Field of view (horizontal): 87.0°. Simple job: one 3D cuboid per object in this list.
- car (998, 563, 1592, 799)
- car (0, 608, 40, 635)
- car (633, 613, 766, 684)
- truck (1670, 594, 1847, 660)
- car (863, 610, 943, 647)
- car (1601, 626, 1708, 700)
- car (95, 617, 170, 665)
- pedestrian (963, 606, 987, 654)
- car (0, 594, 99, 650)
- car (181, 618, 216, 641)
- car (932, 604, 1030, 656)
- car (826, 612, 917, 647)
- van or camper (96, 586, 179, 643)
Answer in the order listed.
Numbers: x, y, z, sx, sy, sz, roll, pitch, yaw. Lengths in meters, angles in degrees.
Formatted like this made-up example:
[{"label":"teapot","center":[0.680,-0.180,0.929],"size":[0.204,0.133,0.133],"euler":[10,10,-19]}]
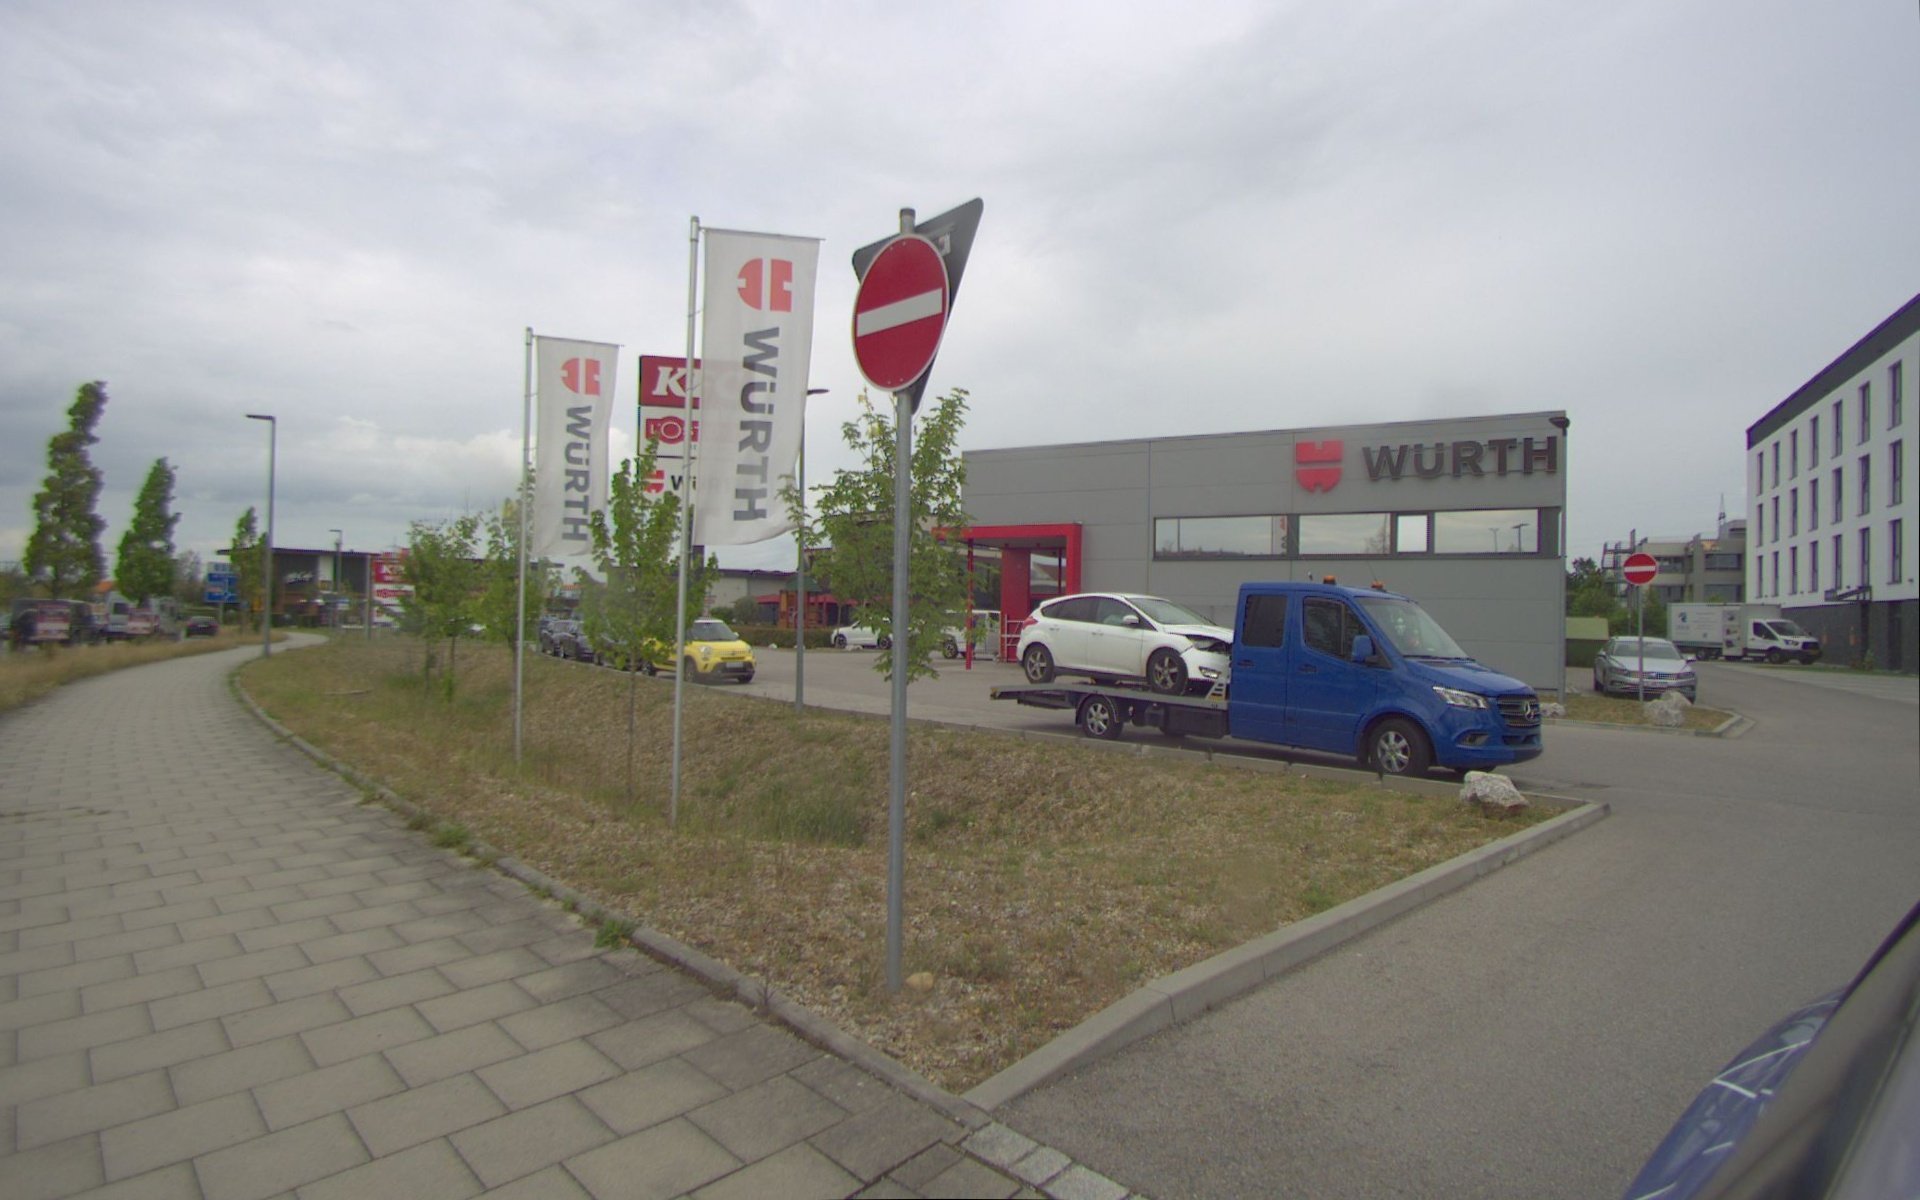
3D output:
[{"label":"car","center":[3.886,0.801,13.856],"size":[2.161,2.352,7.850],"euler":[2,-1,-38]},{"label":"car","center":[-51.954,1.140,55.328],"size":[1.740,1.402,4.151],"euler":[1,-1,-33]},{"label":"car","center":[-7.019,1.223,26.988],"size":[1.722,1.705,4.291],"euler":[1,-1,-41]},{"label":"truck","center":[39.425,1.264,50.347],"size":[2.386,3.055,7.080],"euler":[0,-1,-10]},{"label":"car","center":[-3.145,1.529,55.854],"size":[3.969,1.883,1.977],"euler":[1,-1,32]},{"label":"car","center":[17.231,1.466,25.087],"size":[1.969,1.510,4.708],"euler":[3,1,36]},{"label":"car","center":[-31.030,1.498,38.028],"size":[1.652,1.698,3.508],"euler":[1,-1,-31]},{"label":"pedestrian","center":[0.582,1.168,39.493],"size":[0.654,1.831,0.642],"euler":[1,-1,32]},{"label":"car","center":[-34.163,0.829,38.043],"size":[1.960,1.948,4.850],"euler":[1,-2,-32]},{"label":"car","center":[-50.013,1.931,66.487],"size":[1.465,1.403,3.344],"euler":[1,-1,-31]},{"label":"car","center":[0.851,1.180,40.846],"size":[3.645,2.004,1.658],"euler":[0,-1,31]},{"label":"car","center":[-4.703,1.535,53.607],"size":[4.705,1.771,1.738],"euler":[0,-1,32]},{"label":"van or camper","center":[-39.625,0.719,48.906],"size":[2.152,2.574,6.170],"euler":[1,-2,-31]}]
